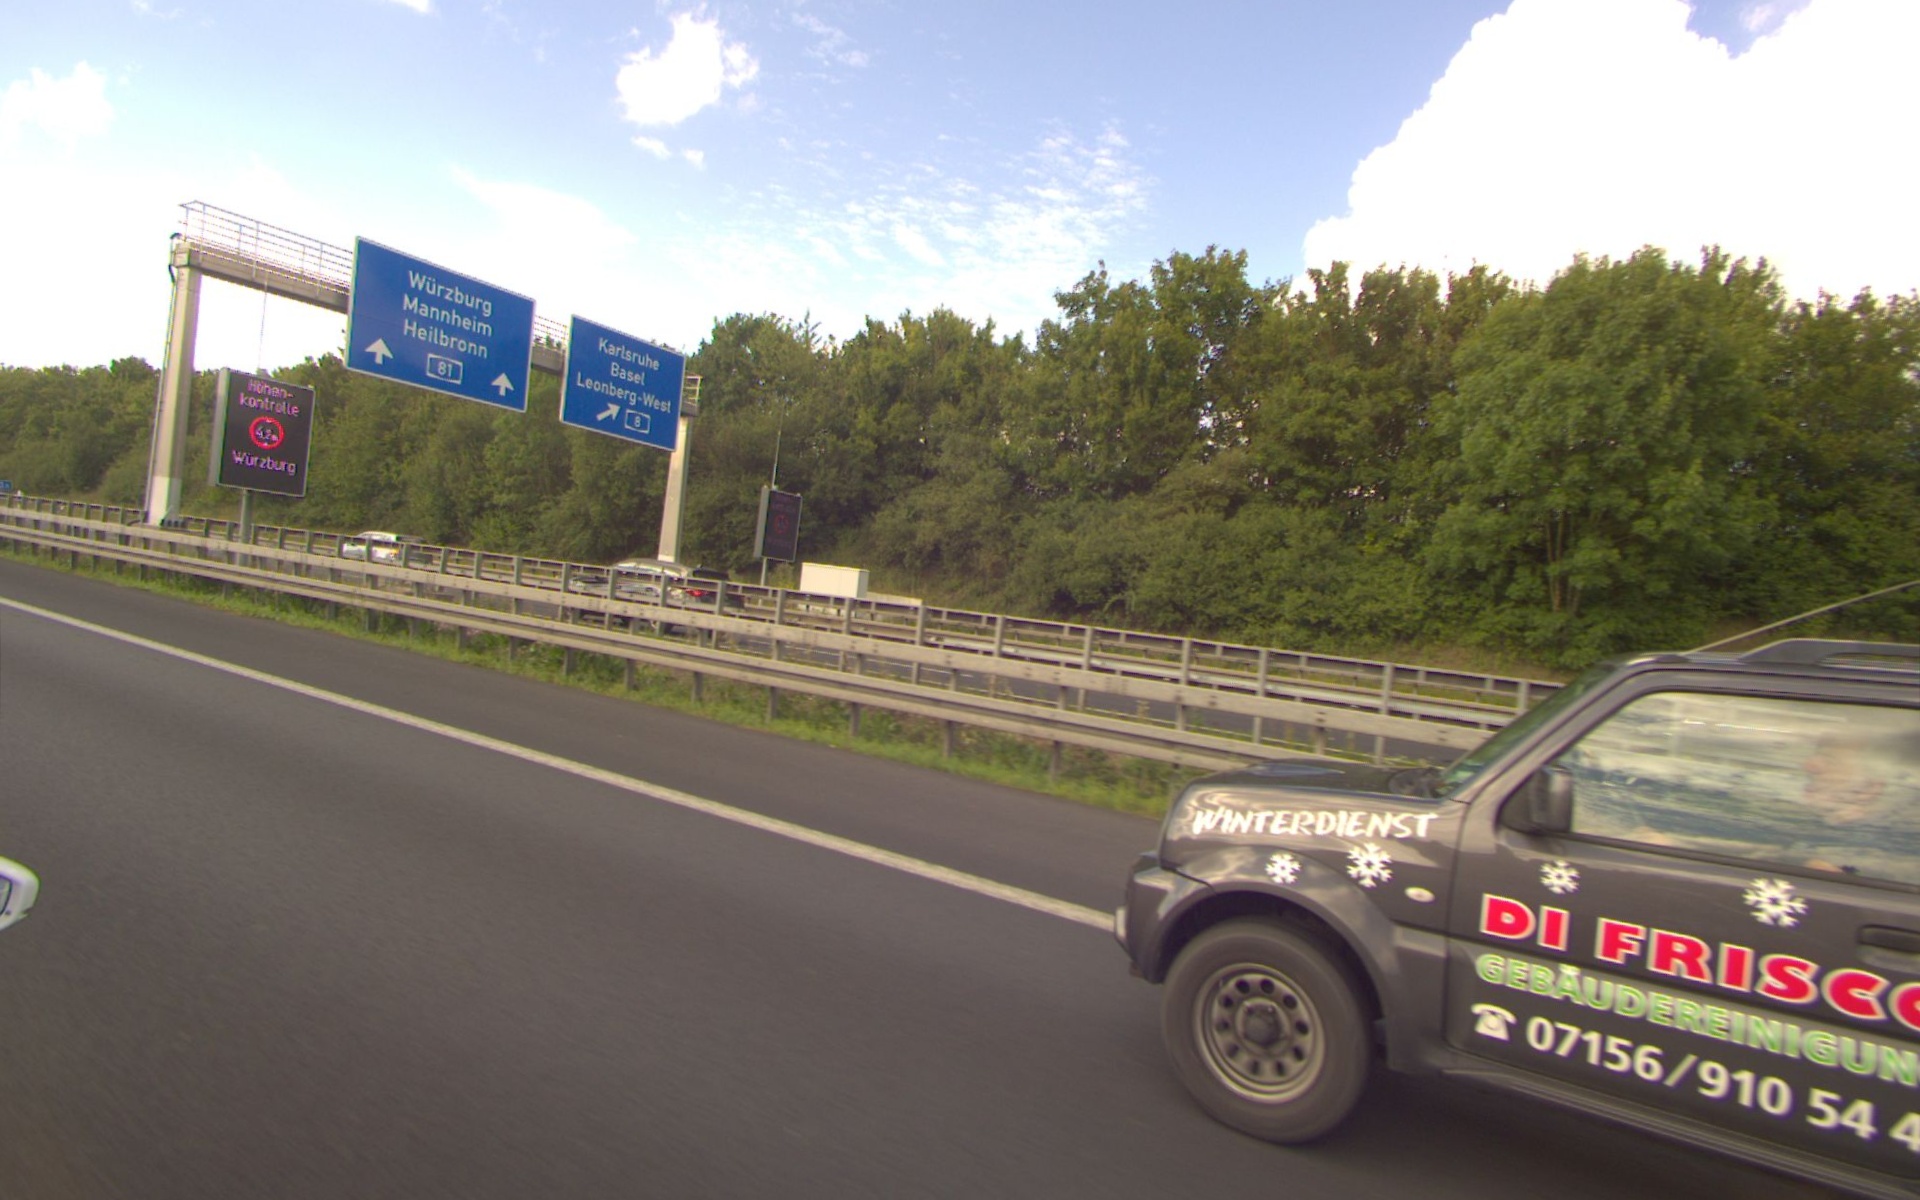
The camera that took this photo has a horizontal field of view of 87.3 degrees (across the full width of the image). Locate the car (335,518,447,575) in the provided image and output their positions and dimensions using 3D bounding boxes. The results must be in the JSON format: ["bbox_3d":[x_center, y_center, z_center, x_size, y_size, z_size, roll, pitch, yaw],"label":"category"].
[{"bbox_3d":[-21.639,-2.037,38.238,3.934,1.730,1.995,6,1,32],"label":"car"}]

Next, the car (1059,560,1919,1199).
[{"bbox_3d":[2.595,0.985,2.999,4.138,1.754,1.668,6,0,33],"label":"car"}]

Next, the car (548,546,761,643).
[{"bbox_3d":[-6.367,-0.122,20.910,3.933,1.502,1.996,6,0,31],"label":"car"}]

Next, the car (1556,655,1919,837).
[{"bbox_3d":[9.575,1.675,11.836,4.238,1.502,1.996,6,0,31],"label":"car"}]
